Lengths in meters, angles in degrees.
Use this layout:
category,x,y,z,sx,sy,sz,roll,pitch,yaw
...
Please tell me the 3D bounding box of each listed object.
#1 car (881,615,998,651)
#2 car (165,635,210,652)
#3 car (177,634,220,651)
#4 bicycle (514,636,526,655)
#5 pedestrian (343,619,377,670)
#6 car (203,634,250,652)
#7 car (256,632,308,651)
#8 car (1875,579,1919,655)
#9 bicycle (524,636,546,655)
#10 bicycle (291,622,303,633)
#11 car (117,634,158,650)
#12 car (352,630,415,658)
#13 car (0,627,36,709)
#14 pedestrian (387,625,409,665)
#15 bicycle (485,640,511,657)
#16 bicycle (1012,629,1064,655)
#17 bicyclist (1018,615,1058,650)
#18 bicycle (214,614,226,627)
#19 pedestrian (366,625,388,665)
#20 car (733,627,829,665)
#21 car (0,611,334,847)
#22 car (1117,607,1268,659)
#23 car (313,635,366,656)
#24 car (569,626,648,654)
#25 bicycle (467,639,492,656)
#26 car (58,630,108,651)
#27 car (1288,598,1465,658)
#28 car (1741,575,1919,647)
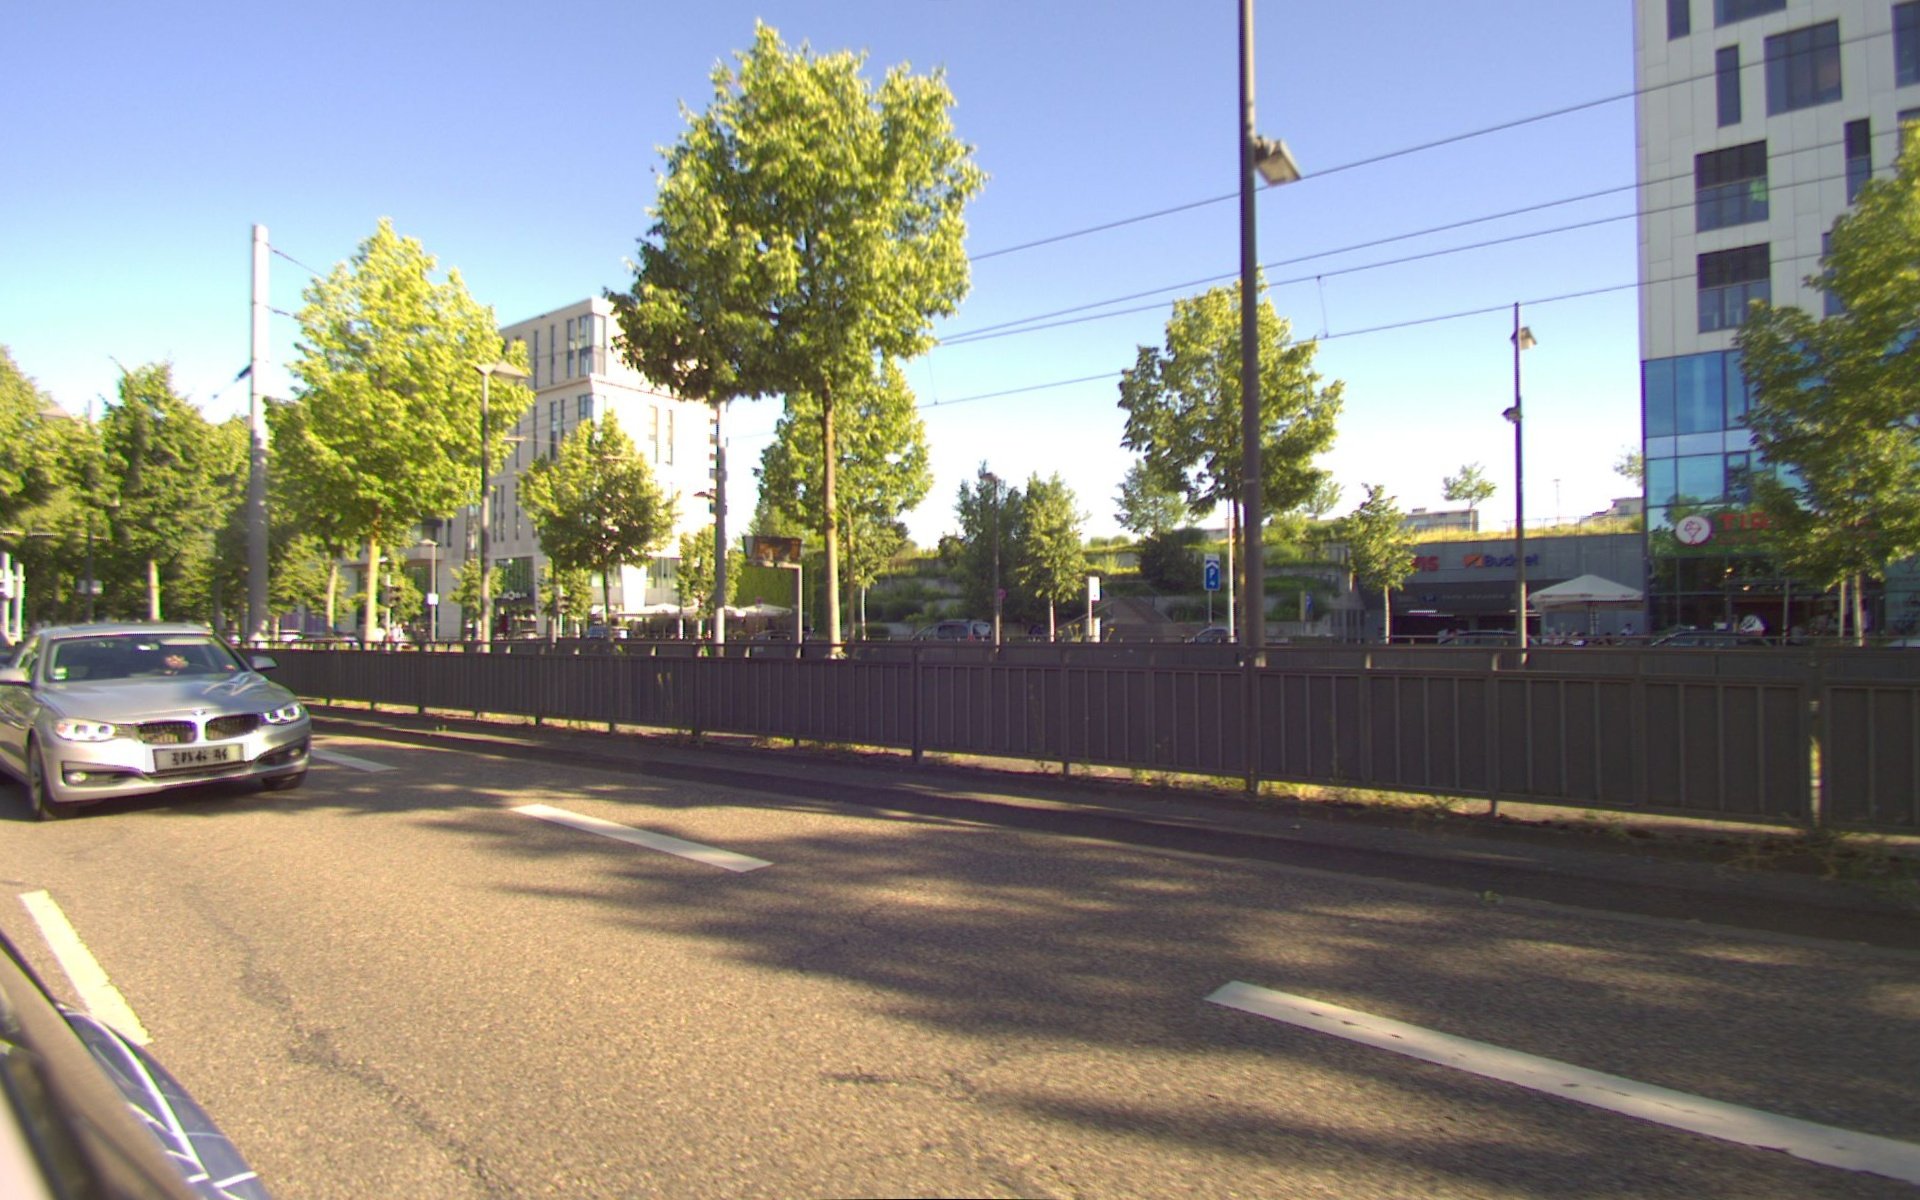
category,x,y,z,sx,sy,sz,roll,pitch,yaw
car,-0.886,1.309,41.166,4.604,1.335,1.894,-1,0,38
car,-72.640,4.070,95.108,4.767,1.452,1.977,-1,0,35
car,-68.900,3.828,91.539,4.448,1.452,1.975,-1,0,37
bicycle,-31.881,3.275,73.323,0.580,1.262,1.845,-1,0,-32
pedestrian,-22.169,1.632,37.394,0.724,1.850,0.814,-1,0,34
car,-63.934,3.728,88.157,4.445,1.452,1.977,-1,0,35
car,-54.565,3.326,81.438,4.445,1.452,1.977,-1,0,35
car,23.727,0.343,22.505,4.845,1.727,1.975,-1,0,38
bicycle,-30.261,3.226,72.071,1.836,1.262,0.582,-1,0,37
bicycle,-61.360,2.510,93.674,1.798,1.024,0.375,-1,0,39
car,-85.482,4.346,105.171,4.913,1.452,1.977,-1,0,35
car,-40.394,3.063,70.839,4.765,1.785,1.977,-1,0,35
car,-19.992,1.316,20.048,3.996,1.534,1.927,-1,-1,39
pedestrian,-21.749,1.747,39.178,0.603,1.508,0.537,-1,0,41
bicycle,-34.267,3.563,75.083,2.236,1.207,0.727,-1,0,36
bicycle,3.207,1.729,41.753,2.185,1.009,0.492,-1,0,37
bicyclist,3.213,1.342,41.747,1.657,1.416,0.484,-1,0,37
bicycle,-80.153,2.219,109.577,1.604,1.290,0.593,-1,0,35
pedestrian,-22.633,1.749,39.280,0.588,1.529,0.544,-1,0,42
car,-8.474,2.143,47.630,4.604,1.633,1.861,-1,0,38
car,-7.439,0.925,9.079,4.274,1.590,1.863,-1,0,40
car,7.881,1.095,34.537,4.604,1.620,1.975,-1,0,38
car,-45.897,3.338,74.786,4.258,1.452,1.940,-1,0,37
car,-18.977,2.136,54.527,4.604,1.445,1.861,-2,-2,38
bicycle,-36.419,3.603,76.754,2.236,1.207,0.727,-1,0,36
car,-67.184,3.049,77.526,3.990,1.497,1.977,-1,0,35
car,12.574,0.826,30.681,4.604,1.684,1.975,-1,0,38
car,26.231,0.313,30.227,4.557,2.029,1.975,-1,0,38
